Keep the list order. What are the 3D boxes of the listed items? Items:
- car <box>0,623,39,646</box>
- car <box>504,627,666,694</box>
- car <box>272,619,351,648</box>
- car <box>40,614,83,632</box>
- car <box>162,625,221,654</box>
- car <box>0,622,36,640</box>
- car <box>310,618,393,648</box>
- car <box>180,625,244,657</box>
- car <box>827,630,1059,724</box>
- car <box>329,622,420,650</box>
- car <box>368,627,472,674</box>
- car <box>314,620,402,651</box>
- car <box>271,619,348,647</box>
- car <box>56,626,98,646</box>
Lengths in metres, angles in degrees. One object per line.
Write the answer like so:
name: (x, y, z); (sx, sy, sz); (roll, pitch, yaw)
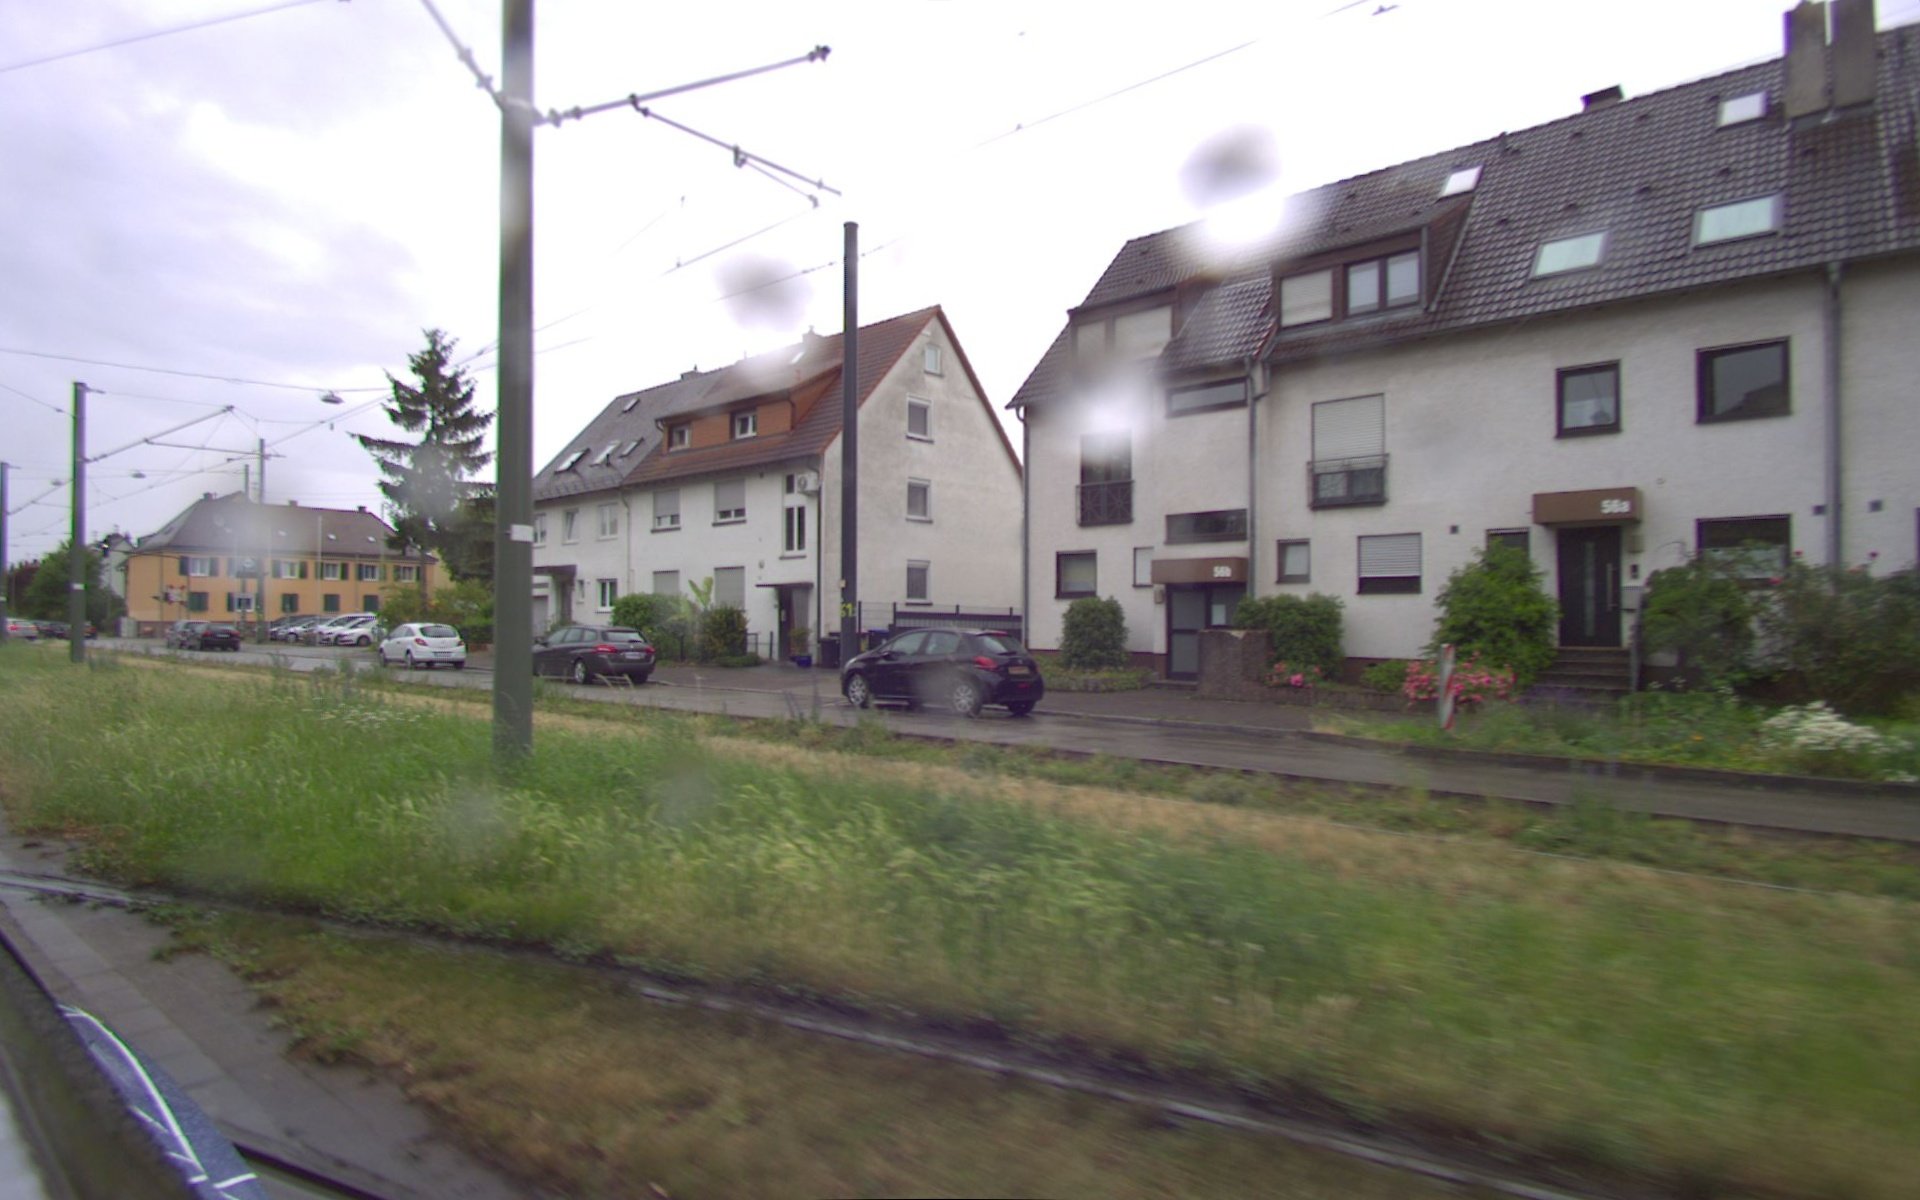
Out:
car: (-61.431, 2.183, 64.424); (4.237, 1.442, 2.098); (0, -2, 14)
car: (-9.742, 1.500, 26.125); (4.754, 1.543, 1.867); (-1, -2, 41)
car: (-39.128, 2.008, 61.065); (3.934, 1.607, 1.918); (0, -1, -35)
car: (-73.587, 1.883, 82.888); (4.075, 1.442, 2.069); (-1, -2, 40)
car: (-42.053, 2.139, 55.343); (3.999, 1.541, 1.857); (-1, -2, 42)
car: (-88.904, 2.897, 94.205); (1.892, 1.660, 3.948); (-1, -2, 38)
car: (-35.827, 1.911, 59.604); (3.937, 1.607, 1.916); (0, -1, -41)
car: (-38.599, 2.080, 52.183); (3.999, 1.602, 1.887); (-1, -2, 42)
car: (-0.370, 1.265, 17.740); (3.936, 1.437, 1.754); (-1, -3, 42)
car: (-32.231, 1.956, 55.787); (1.914, 1.475, 3.943); (-1, -2, 43)
car: (-17.998, 1.639, 33.663); (3.998, 1.451, 1.693); (-1, -2, 41)
car: (-34.062, 1.970, 57.337); (1.914, 1.607, 3.943); (-1, -1, 43)
car: (-40.550, 2.026, 63.216); (3.931, 1.607, 1.919); (0, -1, -29)
car: (-67.166, 2.707, 76.957); (4.075, 1.442, 1.861); (-1, -2, 41)
